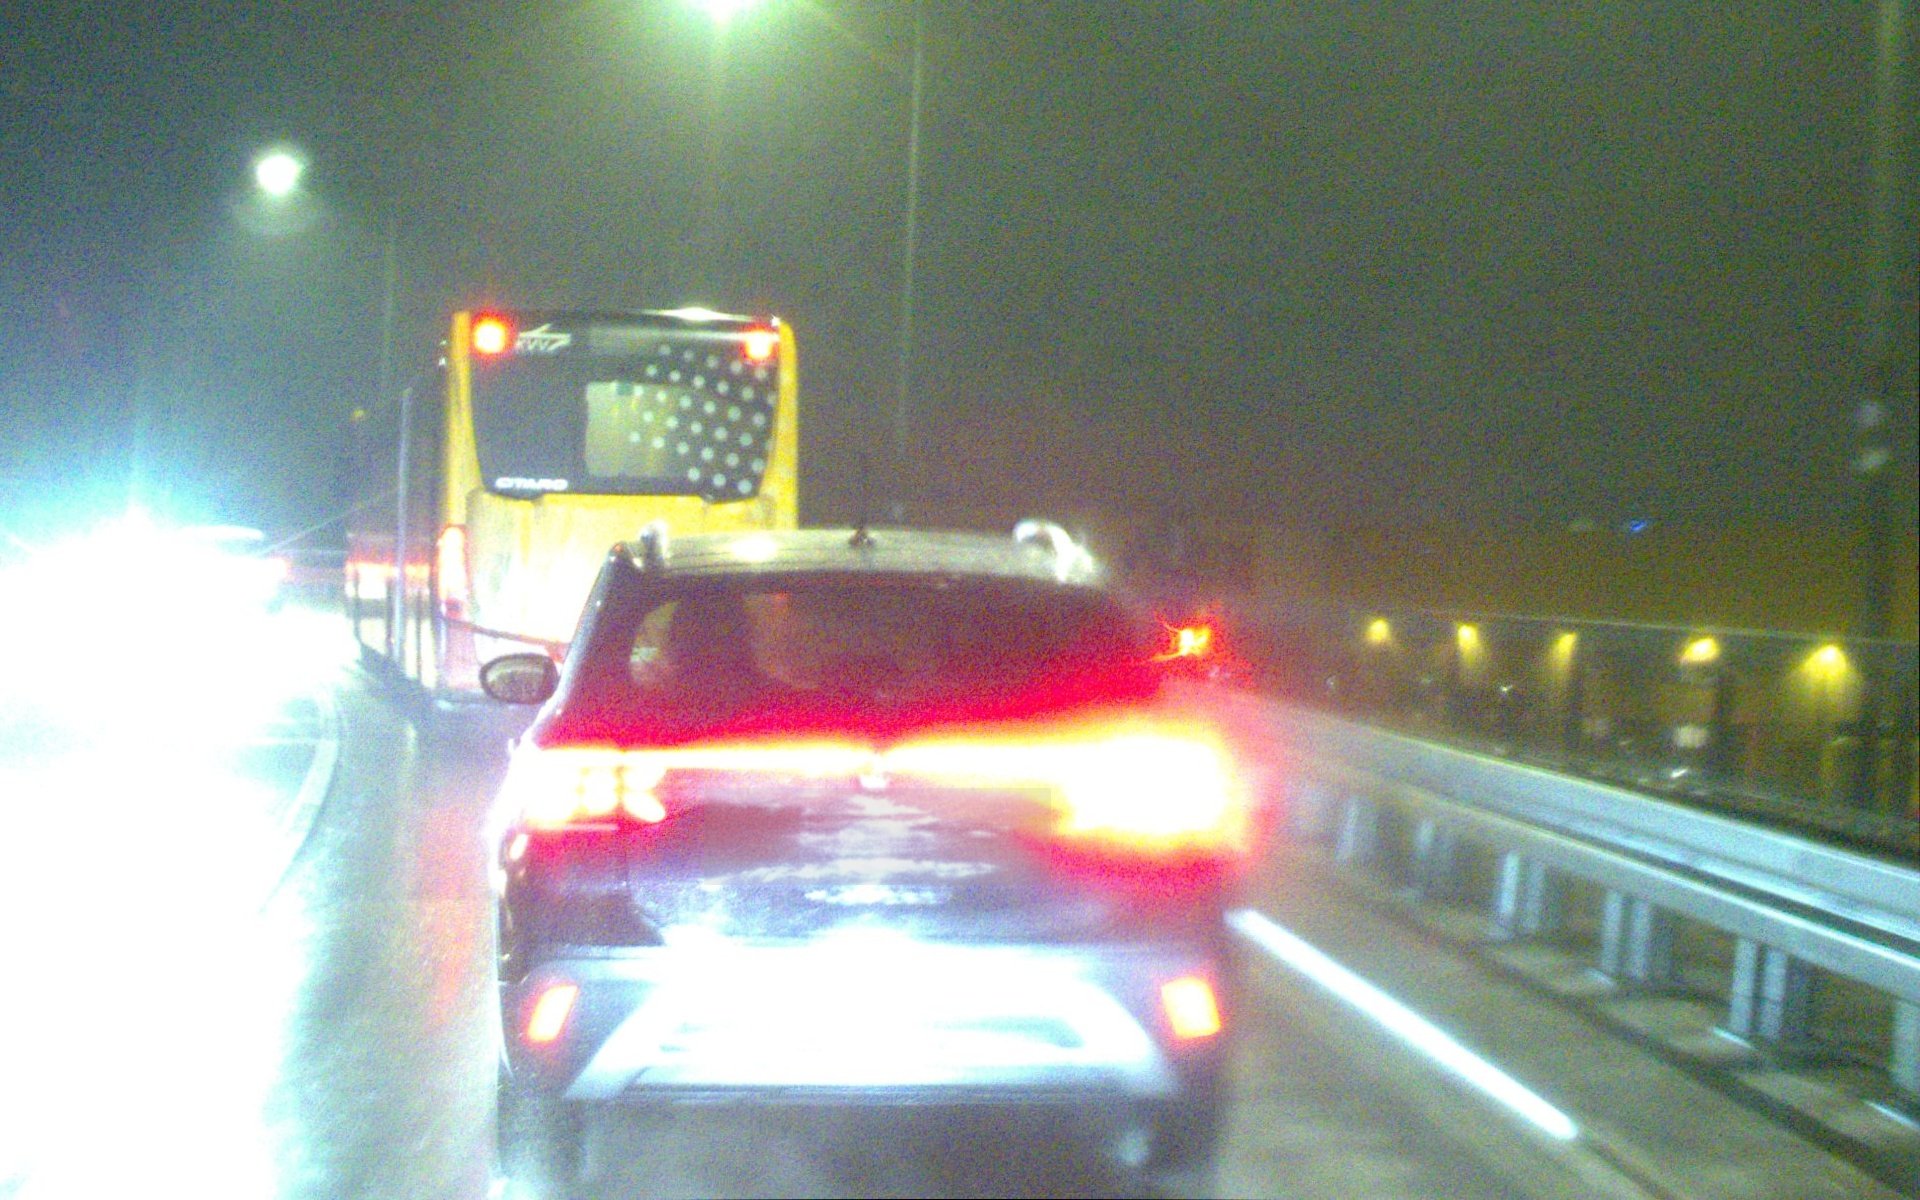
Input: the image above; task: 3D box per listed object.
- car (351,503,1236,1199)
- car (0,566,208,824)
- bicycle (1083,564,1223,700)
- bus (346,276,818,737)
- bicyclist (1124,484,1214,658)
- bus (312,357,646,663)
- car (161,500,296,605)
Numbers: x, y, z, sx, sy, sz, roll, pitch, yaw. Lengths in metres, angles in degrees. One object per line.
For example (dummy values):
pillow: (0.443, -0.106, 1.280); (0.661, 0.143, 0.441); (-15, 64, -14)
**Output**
car: (-0.409, 0.559, 9.256); (1.855, 1.581, 4.000); (0, 1, -2)
car: (-6.992, 0.635, 26.286); (2.022, 1.713, 4.983); (0, 1, -8)
bicycle: (1.530, 0.238, 27.613); (0.484, 1.031, 2.173); (0, 1, -14)
bus: (-3.680, -0.833, 29.788); (3.082, 3.122, 12.701); (0, 2, -11)
bicyclist: (1.647, -0.237, 27.164); (0.452, 1.345, 0.765); (1, 1, -15)
bus: (-5.746, -1.230, 39.879); (3.048, 3.120, 8.082); (-2, 4, -13)
car: (-12.486, -0.790, 58.541); (1.636, 1.650, 3.711); (-3, 1, -20)
